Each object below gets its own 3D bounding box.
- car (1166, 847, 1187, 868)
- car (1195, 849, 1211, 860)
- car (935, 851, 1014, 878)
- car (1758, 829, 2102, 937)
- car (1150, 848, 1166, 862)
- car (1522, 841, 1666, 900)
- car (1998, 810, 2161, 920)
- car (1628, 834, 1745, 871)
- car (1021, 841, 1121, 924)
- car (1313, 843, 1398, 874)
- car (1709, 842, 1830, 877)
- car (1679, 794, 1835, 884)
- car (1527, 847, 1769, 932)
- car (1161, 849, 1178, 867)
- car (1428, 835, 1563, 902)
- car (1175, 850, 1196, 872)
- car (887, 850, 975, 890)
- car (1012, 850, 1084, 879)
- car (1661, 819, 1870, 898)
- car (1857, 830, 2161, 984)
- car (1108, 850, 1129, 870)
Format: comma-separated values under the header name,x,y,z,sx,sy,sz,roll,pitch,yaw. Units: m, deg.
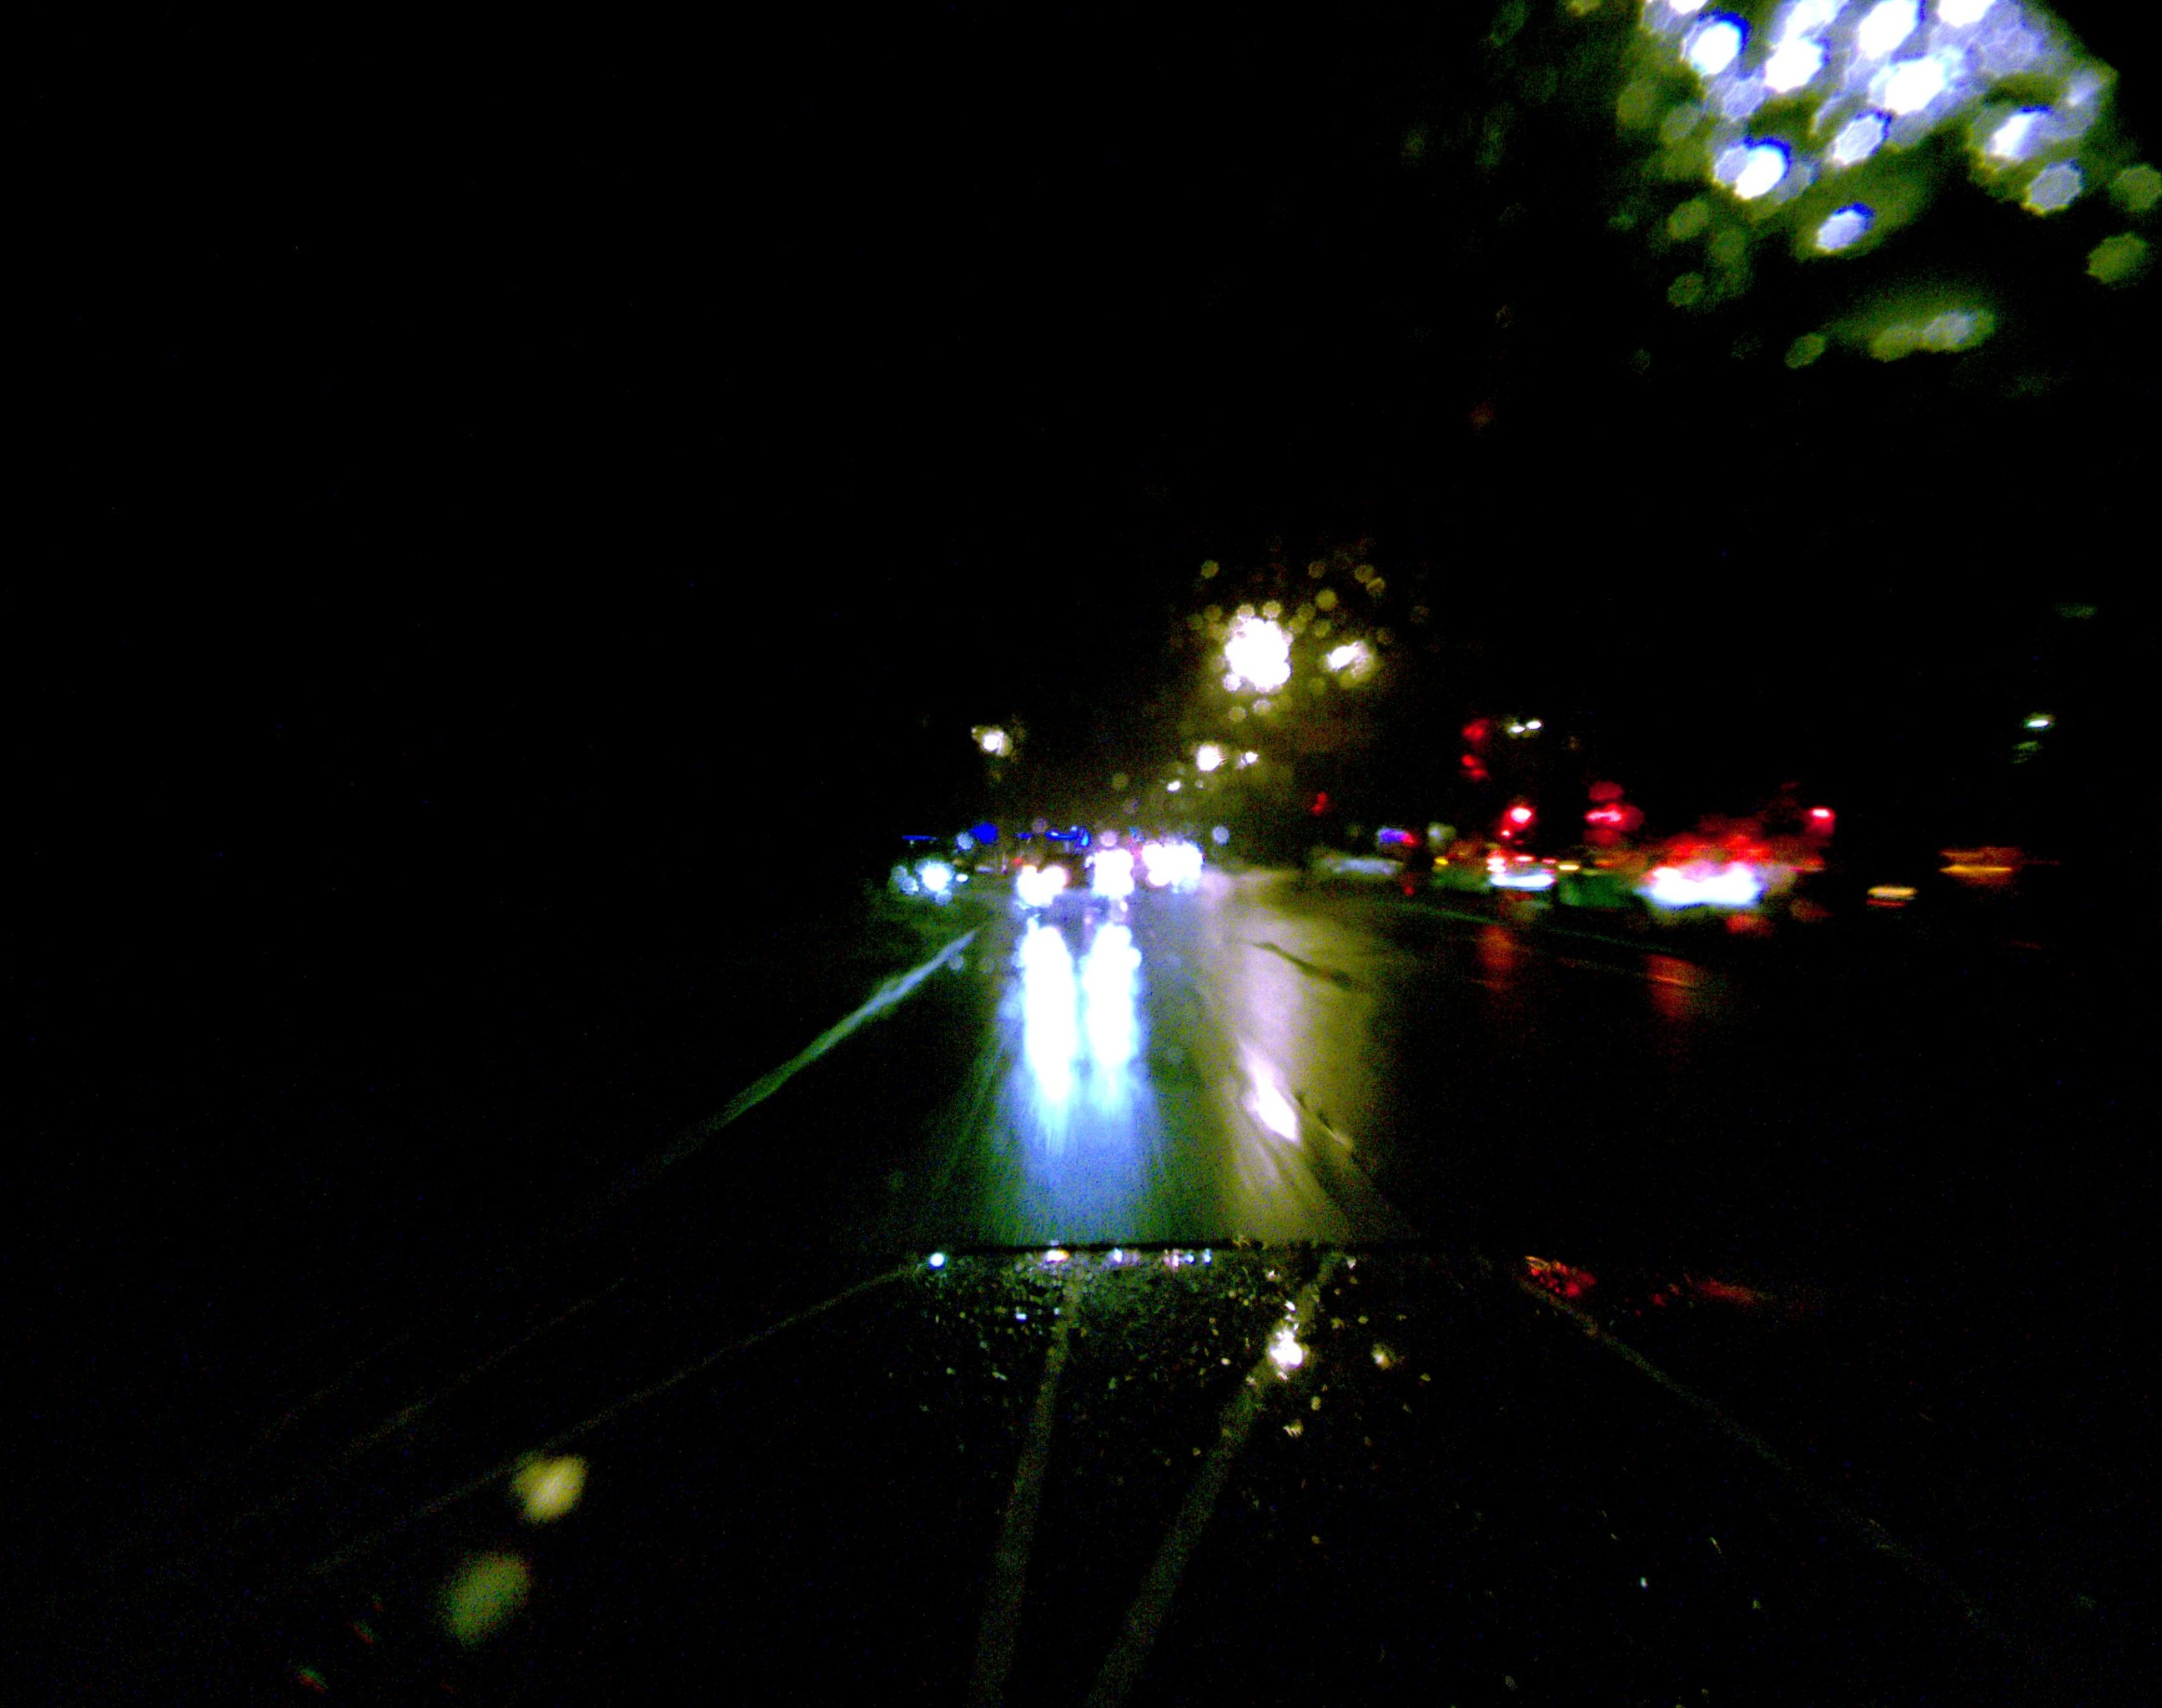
name,x,y,z,sx,sy,sz,roll,pitch,yaw
car,10.146,0.312,80.930,1.792,2.013,4.146,-1,2,3
car,18.917,0.086,118.340,1.834,1.466,4.035,-2,3,1
car,-6.114,0.614,43.769,4.169,1.437,1.682,-1,1,9
car,14.979,0.399,13.815,1.803,1.656,3.975,-1,1,0
car,10.405,0.138,102.560,1.845,1.683,3.999,-3,2,2
car,14.940,0.416,22.422,1.716,1.479,4.057,-1,2,4
car,18.458,0.149,12.425,1.803,1.789,4.250,-2,1,0
car,31.615,-0.078,39.771,4.553,1.821,1.783,-1,2,5
car,-0.386,0.640,19.958,2.005,1.914,4.365,-1,1,-9
car,15.856,0.279,43.983,4.233,1.584,1.791,-2,-4,4
car,38.191,0.304,42.248,4.715,1.783,2.001,-1,1,7
car,22.715,-0.496,25.881,2.251,2.694,5.617,-1,1,23
car,11.394,0.618,15.737,1.781,1.475,4.412,-1,0,1
car,10.508,0.434,90.216,1.711,1.927,3.609,-1,2,2
car,11.813,0.372,21.958,1.764,1.715,3.901,-1,1,0
car,9.966,0.671,72.526,1.666,1.843,4.146,-1,2,3
car,-6.562,0.695,33.014,3.976,1.524,1.691,-1,3,44
car,-2.007,0.640,47.153,4.123,1.696,1.850,-1,1,10
car,18.106,0.095,20.418,1.764,1.837,4.284,-2,1,0
car,11.866,0.527,8.551,1.817,1.569,4.305,0,1,-1
car,3.567,0.530,71.961,1.957,1.624,4.258,-1,2,3
